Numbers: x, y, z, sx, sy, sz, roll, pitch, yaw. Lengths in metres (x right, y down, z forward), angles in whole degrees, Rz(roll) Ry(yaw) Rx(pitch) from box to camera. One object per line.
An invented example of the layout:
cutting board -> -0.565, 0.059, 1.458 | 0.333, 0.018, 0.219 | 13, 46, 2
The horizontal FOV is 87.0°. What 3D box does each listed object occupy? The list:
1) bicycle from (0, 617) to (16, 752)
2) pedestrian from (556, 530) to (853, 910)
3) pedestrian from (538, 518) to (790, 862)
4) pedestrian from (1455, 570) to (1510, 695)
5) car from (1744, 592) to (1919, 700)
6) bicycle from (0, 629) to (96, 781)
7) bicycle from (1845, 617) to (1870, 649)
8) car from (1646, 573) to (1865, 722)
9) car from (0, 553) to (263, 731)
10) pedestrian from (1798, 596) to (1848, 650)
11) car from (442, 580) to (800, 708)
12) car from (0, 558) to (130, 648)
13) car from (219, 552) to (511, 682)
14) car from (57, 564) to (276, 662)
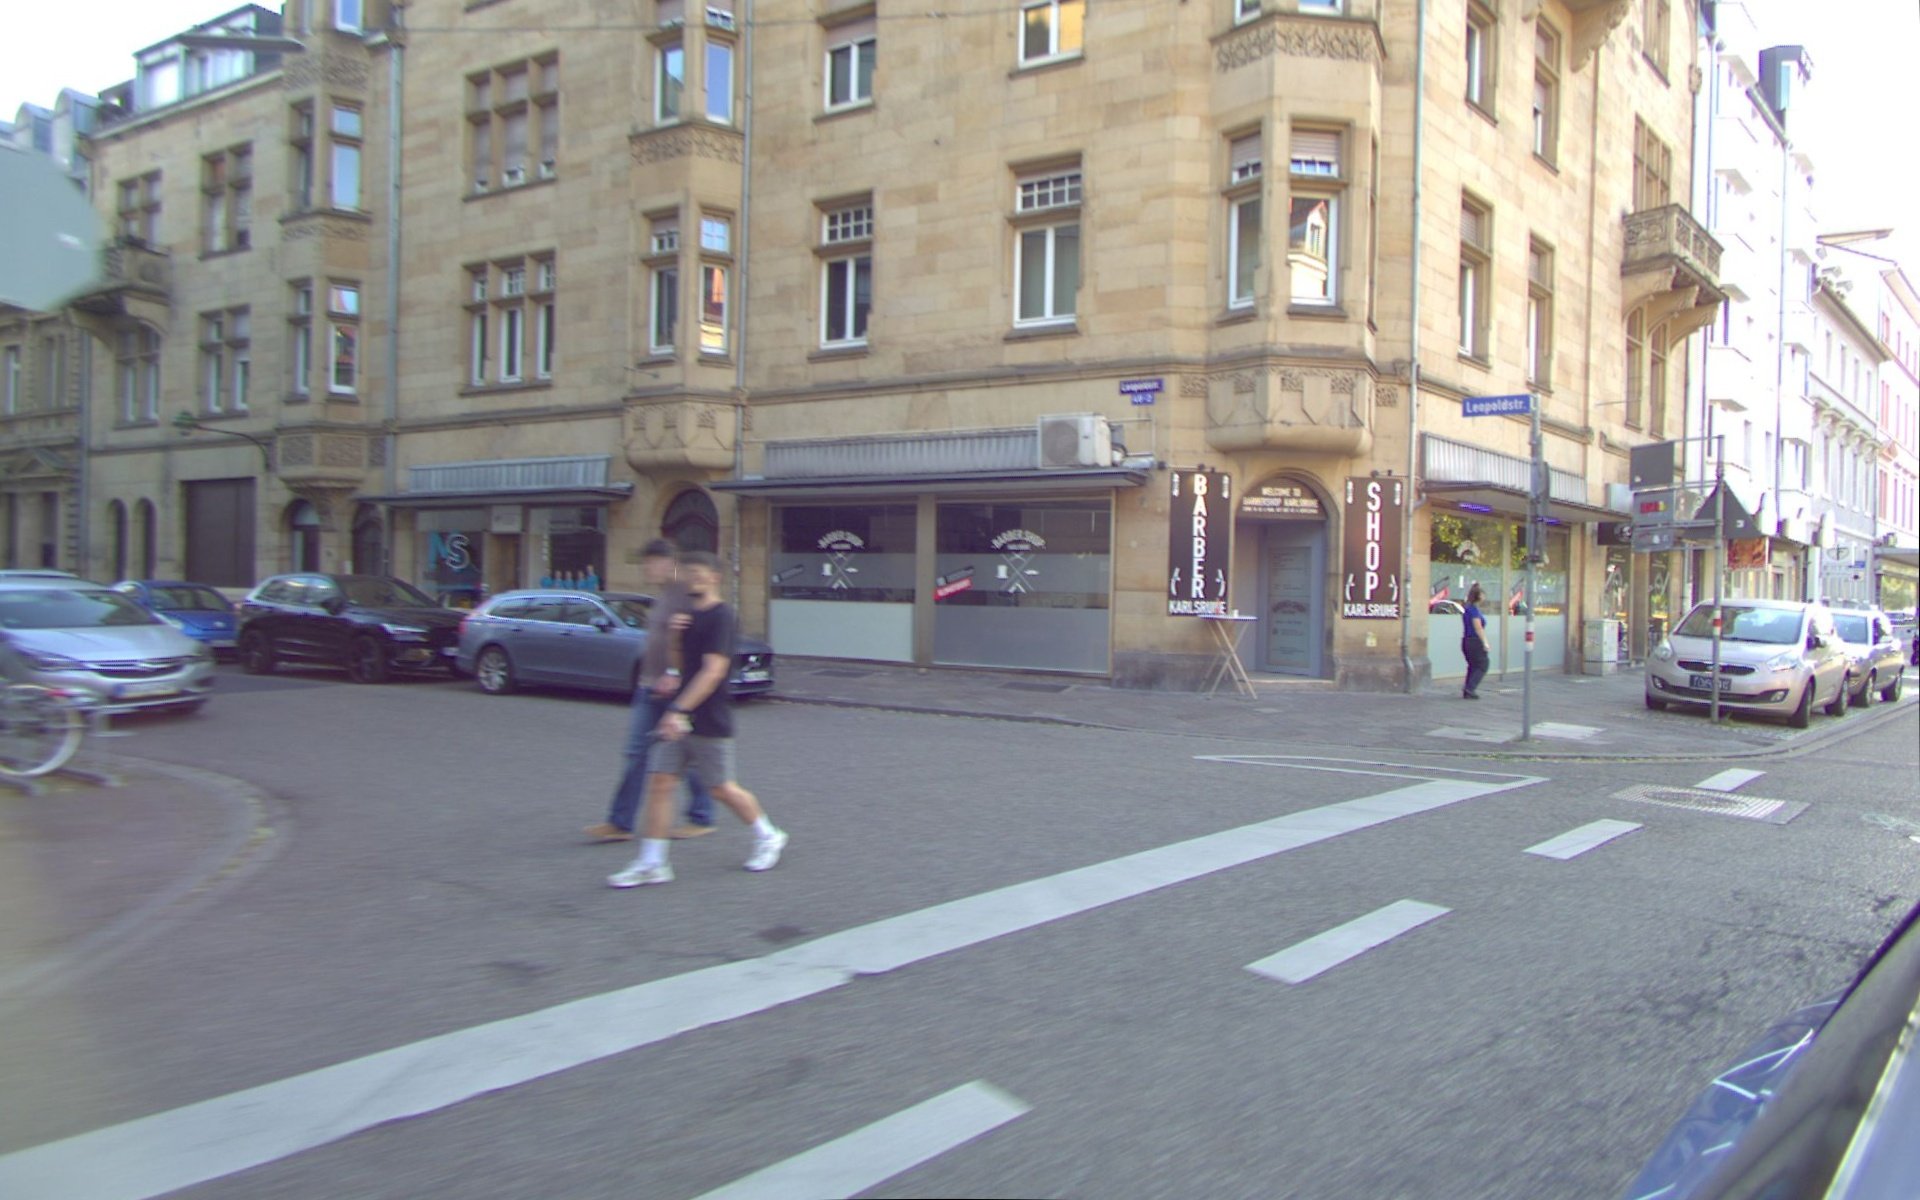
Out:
bicycle -> -8.061, 0.653, 7.328 | 0.411, 1.051, 1.761 | 2, 0, 23
pedestrian -> -1.273, 0.531, 5.125 | 1.237, 1.661, 0.756 | 1, -1, -41
pedestrian -> -1.727, 0.473, 5.952 | 1.201, 1.790, 0.756 | 1, -1, -41
pedestrian -> 7.235, 0.434, 14.011 | 0.416, 1.688, 0.585 | 2, -1, -44
car -> 14.960, 0.721, 17.160 | 3.926, 1.580, 1.685 | 1, 2, -38
bicycle -> -7.016, 0.722, 6.871 | 0.412, 1.043, 1.671 | 2, -1, 31
bicycle -> 30.537, 1.111, 34.450 | 0.453, 1.024, 1.691 | 0, 1, 35
car -> 11.192, 0.585, 14.141 | 3.930, 1.792, 1.699 | 1, 0, -41
car -> -9.845, 0.378, 10.949 | 4.208, 1.601, 1.982 | 0, -1, 26
pedestrian -> 24.676, 0.648, 28.928 | 0.975, 1.506, 0.957 | 1, -1, -41
car -> -4.664, 0.515, 13.852 | 4.640, 1.507, 1.911 | 0, -1, 26
car -> -19.559, 0.055, 21.263 | 3.959, 1.754, 1.786 | 0, -1, 26
car -> -9.529, 0.236, 16.197 | 4.379, 1.835, 1.925 | 0, -1, 26
car -> -14.753, 0.220, 18.795 | 3.959, 1.670, 1.614 | 0, -1, 26
